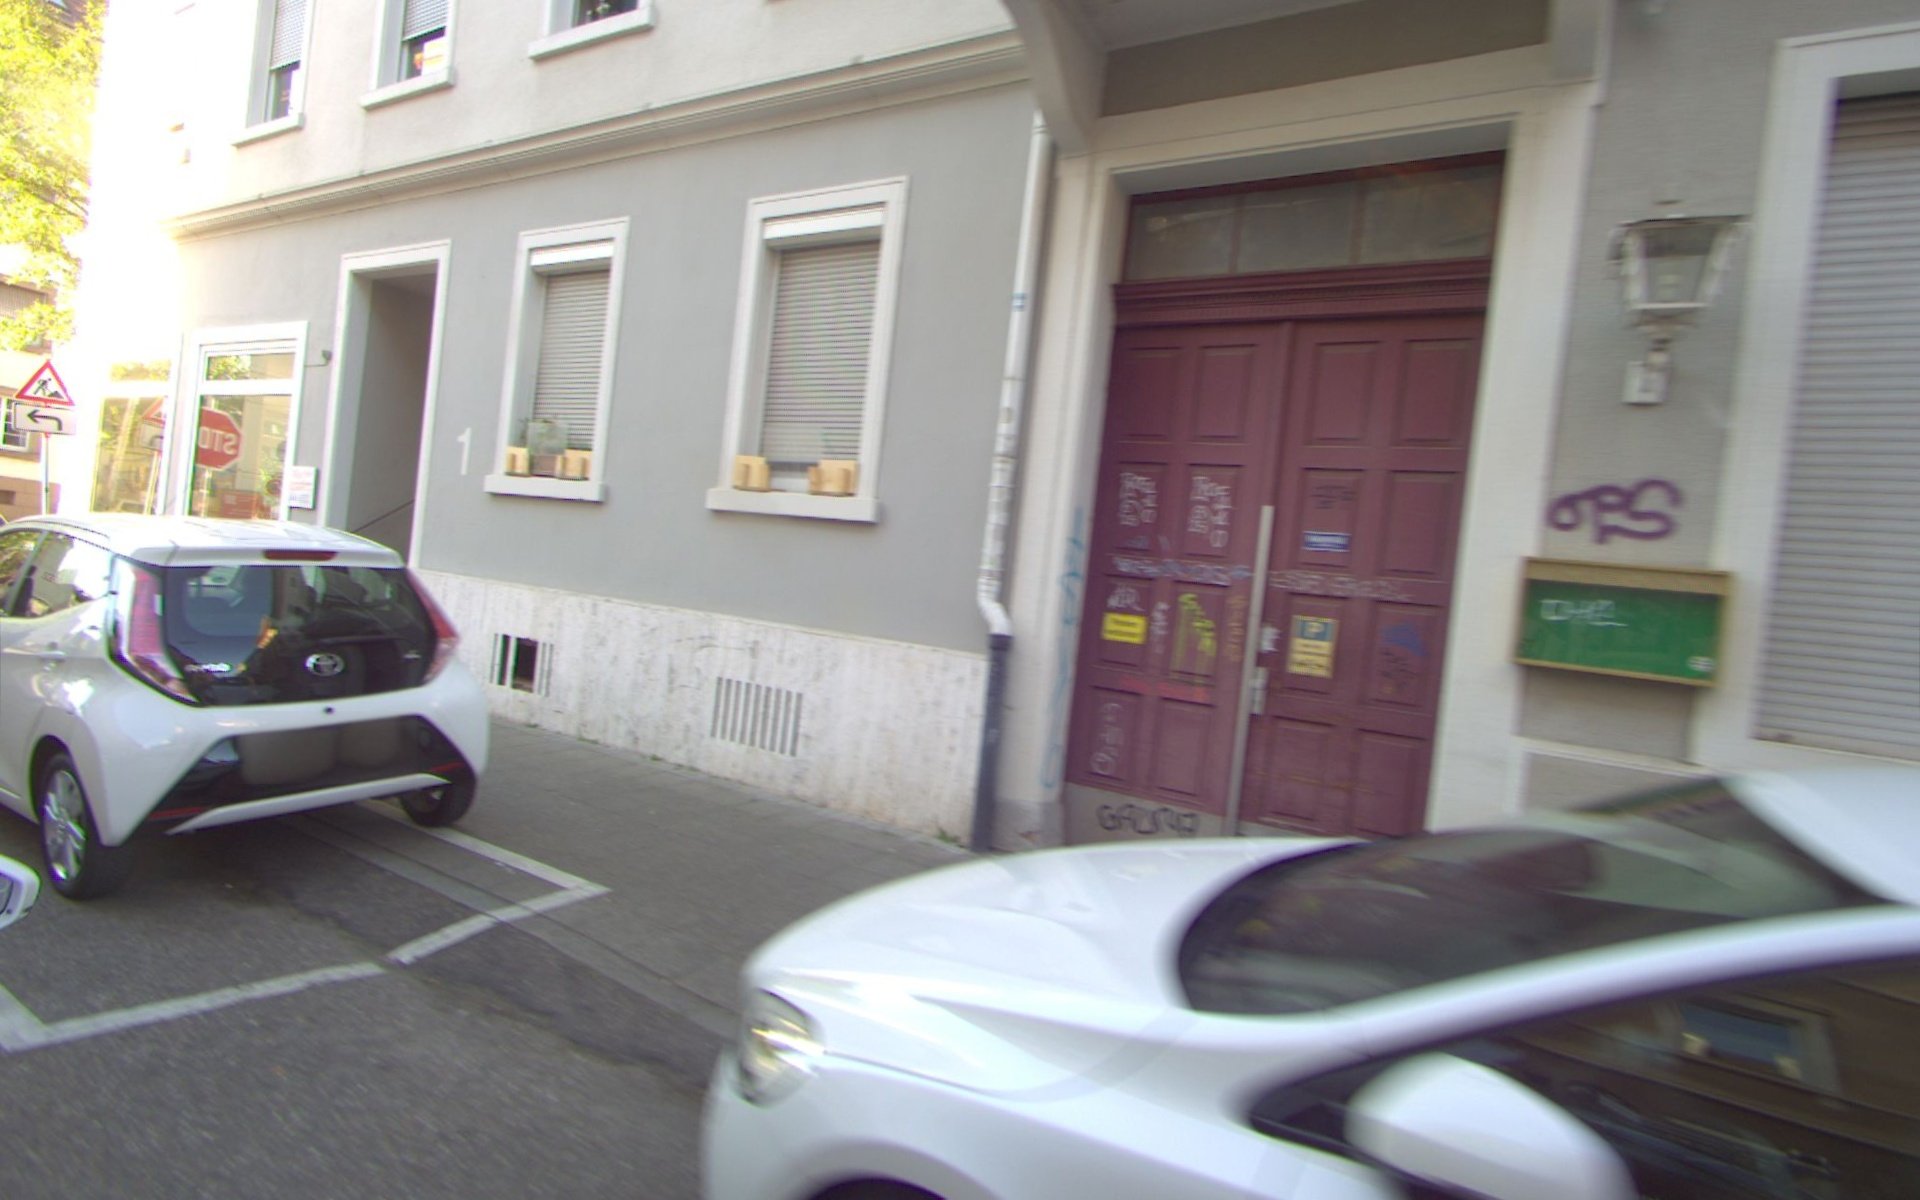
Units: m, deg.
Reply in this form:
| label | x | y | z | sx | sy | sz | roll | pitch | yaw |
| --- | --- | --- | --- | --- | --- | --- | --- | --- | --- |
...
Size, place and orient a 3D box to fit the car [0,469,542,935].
| label | x | y | z | sx | sy | sz | roll | pitch | yaw |
| --- | --- | --- | --- | --- | --- | --- | --- | --- | --- |
| car | -4.170 | 0.269 | 5.207 | 3.724 | 1.605 | 1.640 | 7 | -1 | 30 |

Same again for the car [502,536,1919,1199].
| label | x | y | z | sx | sy | sz | roll | pitch | yaw |
| --- | --- | --- | --- | --- | --- | --- | --- | --- | --- |
| car | 1.375 | 0.928 | 1.558 | 4.119 | 1.528 | 1.682 | 7 | -1 | 31 |

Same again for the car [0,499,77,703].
| label | x | y | z | sx | sy | sz | roll | pitch | yaw |
| --- | --- | --- | --- | --- | --- | --- | --- | --- | --- |
| car | -9.033 | -0.229 | 8.072 | 3.887 | 1.520 | 1.649 | 7 | -1 | 30 |
